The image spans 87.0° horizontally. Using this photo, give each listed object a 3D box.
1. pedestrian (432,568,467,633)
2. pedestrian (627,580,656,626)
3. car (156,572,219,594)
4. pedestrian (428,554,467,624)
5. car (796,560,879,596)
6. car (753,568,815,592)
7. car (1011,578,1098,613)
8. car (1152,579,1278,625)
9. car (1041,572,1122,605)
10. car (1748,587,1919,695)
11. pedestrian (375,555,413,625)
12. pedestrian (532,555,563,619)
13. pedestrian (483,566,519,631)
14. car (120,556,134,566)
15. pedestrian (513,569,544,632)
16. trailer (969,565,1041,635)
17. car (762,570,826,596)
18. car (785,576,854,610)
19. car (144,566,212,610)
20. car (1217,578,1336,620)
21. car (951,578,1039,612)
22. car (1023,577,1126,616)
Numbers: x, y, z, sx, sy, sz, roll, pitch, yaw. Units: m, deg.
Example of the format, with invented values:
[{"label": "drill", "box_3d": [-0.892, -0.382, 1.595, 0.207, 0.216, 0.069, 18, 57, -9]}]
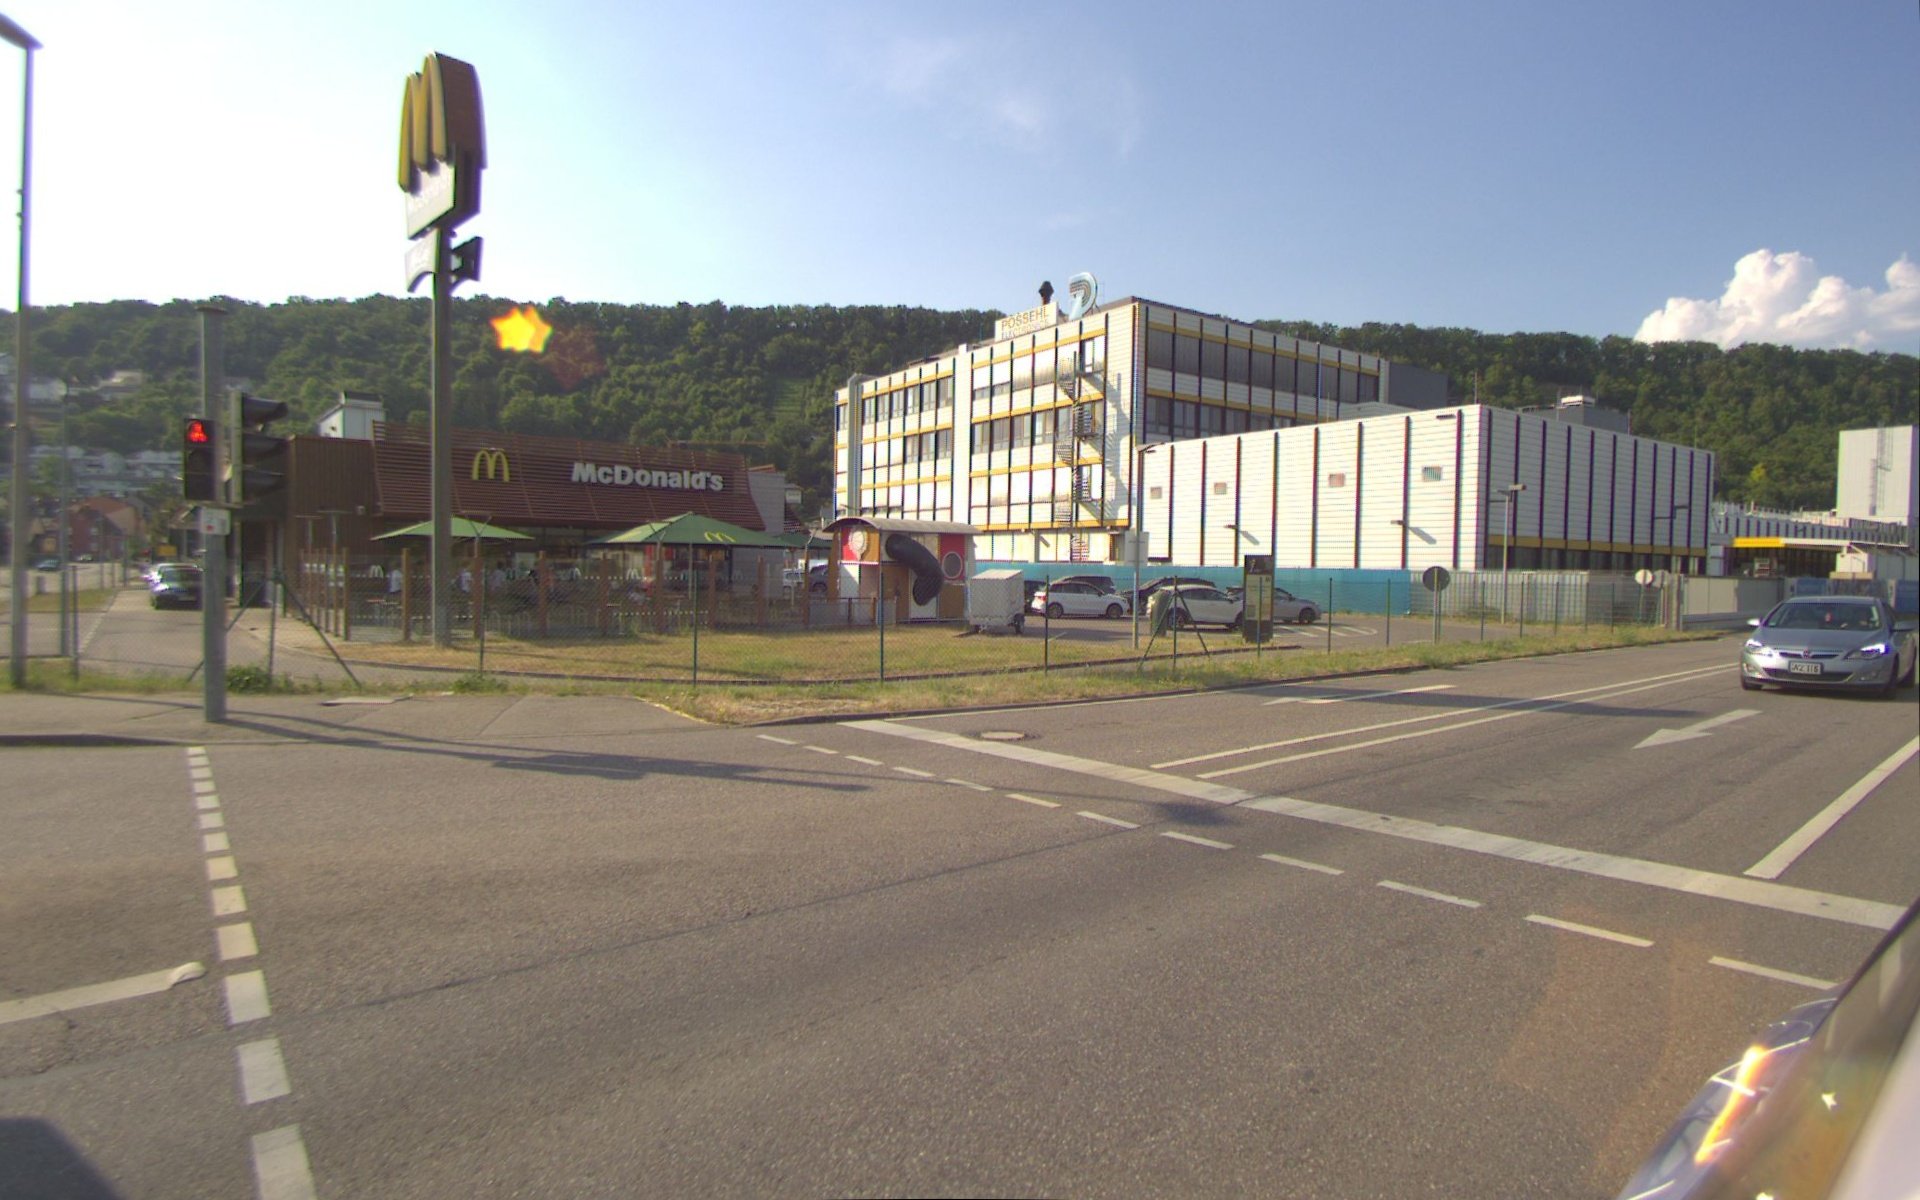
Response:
[{"label": "pedestrian", "box_3d": [-16.278, 0.017, 32.281, 0.758, 2.039, 0.727, -1, 0, 33]}, {"label": "pedestrian", "box_3d": [-9.470, 0.085, 30.092, 0.587, 1.354, 0.672, 0, 0, -45]}, {"label": "car", "box_3d": [-61.663, -1.335, 80.895, 3.925, 1.690, 1.829, -1, 0, -36]}, {"label": "pedestrian", "box_3d": [-15.346, -0.328, 30.296, 0.726, 2.039, 0.759, -1, 0, 19]}, {"label": "car", "box_3d": [-8.064, -1.451, 66.483, 5.059, 2.259, 2.015, -1, 0, -23]}, {"label": "car", "box_3d": [-10.546, -1.202, 60.824, 3.595, 1.433, 1.799, -1, 0, -9]}, {"label": "car", "box_3d": [3.907, -0.200, 42.058, 3.312, 1.405, 1.459, -1, 0, -9]}, {"label": "car", "box_3d": [8.870, 0.057, 35.371, 3.829, 1.524, 1.879, -1, 0, -5]}, {"label": "car", "box_3d": [5.579, -0.517, 46.630, 3.358, 1.473, 1.700, -1, 0, -9]}, {"label": "car", "box_3d": [13.644, 0.532, 15.556, 3.816, 1.408, 1.690, -1, 2, -41]}, {"label": "pedestrian", "box_3d": [-16.876, -0.298, 30.183, 0.731, 2.039, 0.754, -1, 0, 35]}, {"label": "pedestrian", "box_3d": [-13.269, -0.417, 32.516, 0.749, 2.039, 0.735, 0, 0, -37]}, {"label": "pedestrian", "box_3d": [-14.451, -0.046, 31.883, 0.726, 2.039, 0.759, -1, 0, 19]}, {"label": "car", "box_3d": [-121.599, -5.652, 147.697, 1.559, 1.414, 3.376, -1, 0, -39]}, {"label": "pedestrian", "box_3d": [-14.032, 0.007, 32.908, 0.749, 2.039, 0.735, 0, 0, -37]}, {"label": "trailer", "box_3d": [1.437, -0.028, 31.148, 1.330, 1.972, 3.461, 3, 1, 17]}, {"label": "car", "box_3d": [-9.593, -0.969, 58.669, 3.595, 1.433, 1.799, -1, 0, -9]}, {"label": "car", "box_3d": [-7.825, -0.402, 56.260, 3.684, 1.800, 1.822, -1, 0, -9]}, {"label": "car", "box_3d": [-28.227, -0.479, 36.492, 1.828, 1.475, 3.997, -1, 3, -39]}, {"label": "car", "box_3d": [11.944, -0.041, 38.354, 3.827, 1.524, 1.880, -1, 0, -7]}, {"label": "car", "box_3d": [1.523, -0.238, 44.788, 3.595, 1.433, 1.799, -1, 0, -9]}, {"label": "car", "box_3d": [4.499, -0.151, 40.039, 3.698, 1.473, 1.700, -1, 0, -9]}]
